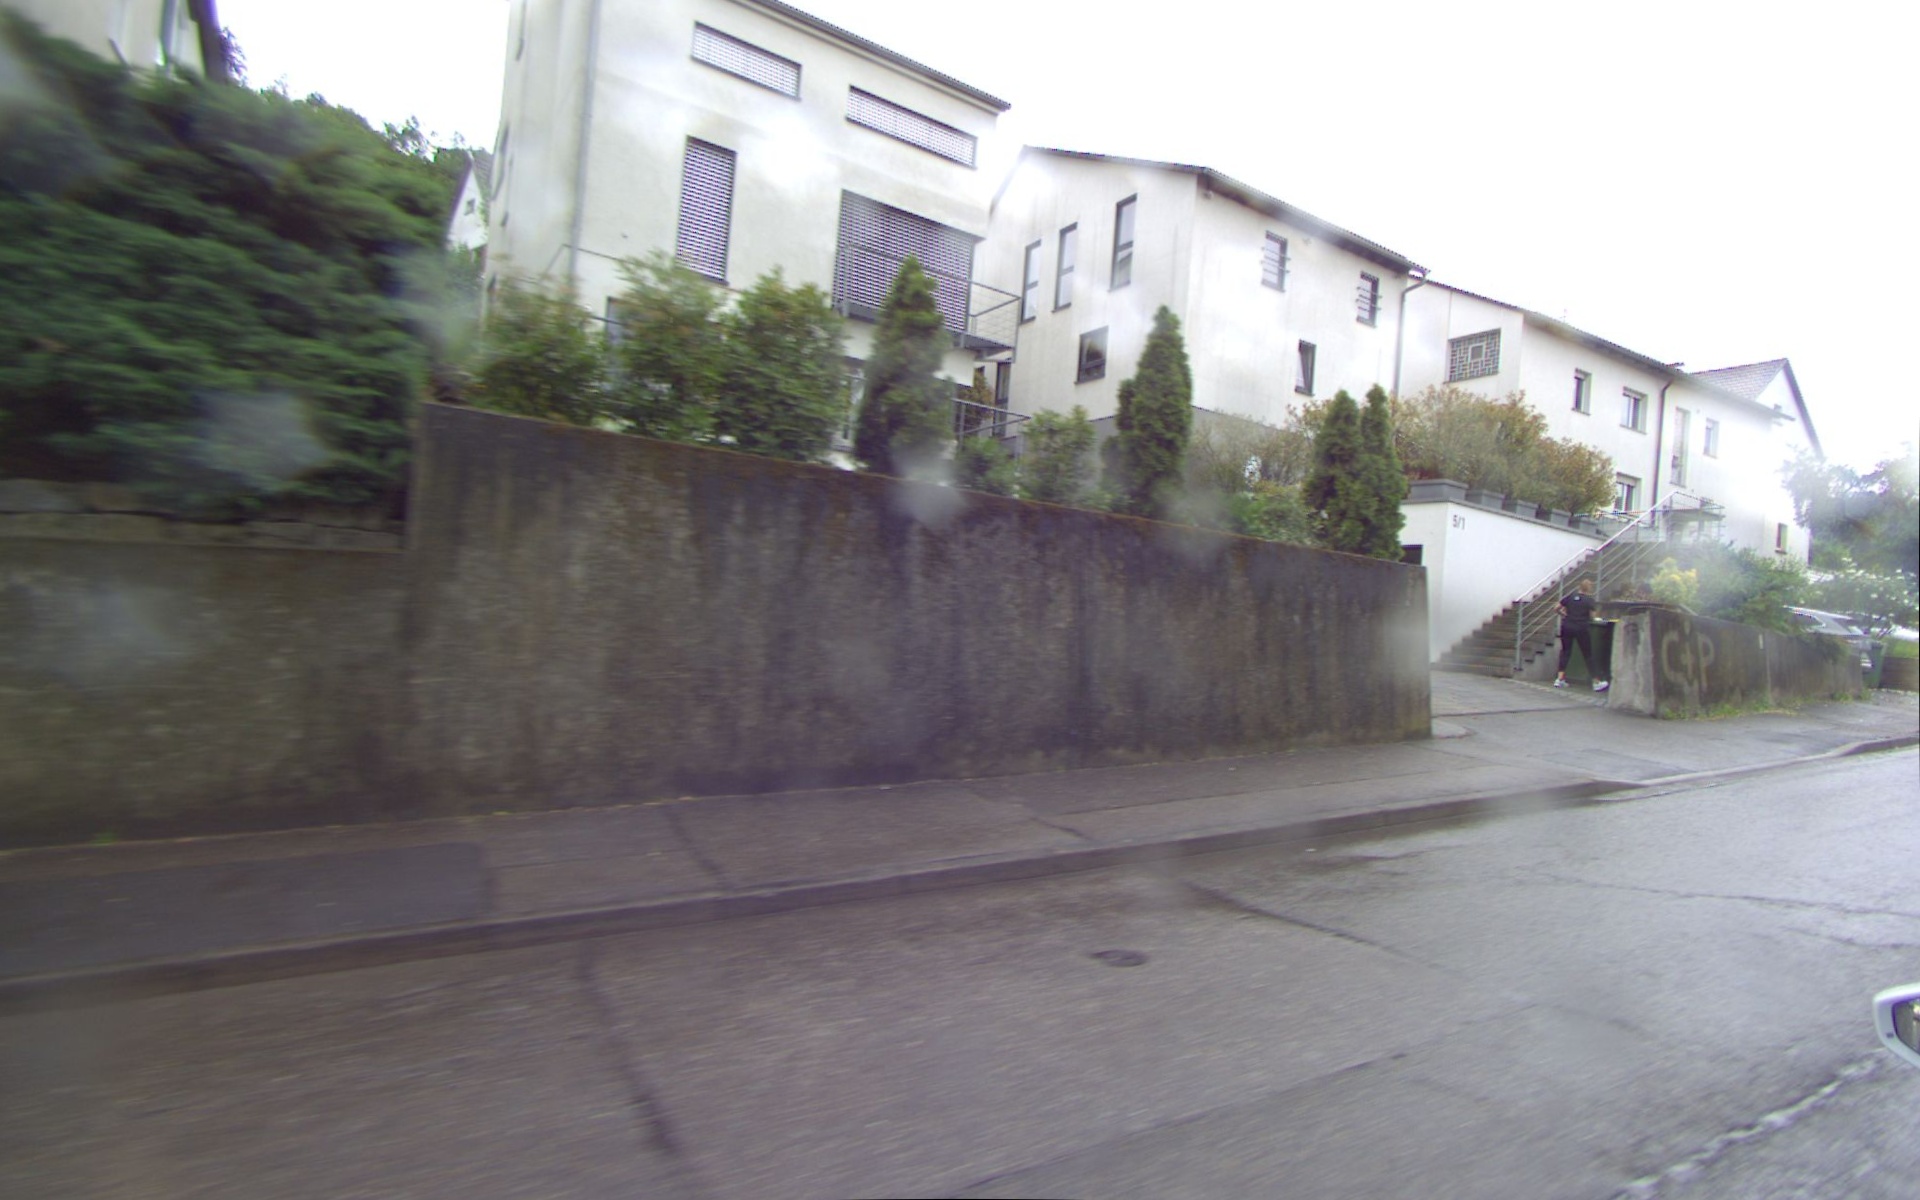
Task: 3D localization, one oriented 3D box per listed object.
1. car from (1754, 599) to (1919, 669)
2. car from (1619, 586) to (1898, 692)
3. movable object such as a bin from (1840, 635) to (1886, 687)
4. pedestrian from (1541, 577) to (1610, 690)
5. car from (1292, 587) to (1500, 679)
[{"bbox_3d":[29.329,1.096,33.312,1.746,1.450,4.230,3,8,-30],"label":"car"},{"bbox_3d":[17.987,0.804,22.844,1.914,1.636,4.478,2,6,-36],"label":"car"},{"bbox_3d":[20.629,1.389,22.944,0.736,1.090,0.533,1,7,-38],"label":"movable object such as a bin"},{"bbox_3d":[9.399,0.492,15.349,0.726,1.671,0.650,0,2,-39],"label":"pedestrian"},{"bbox_3d":[8.834,0.679,20.286,4.073,1.371,1.779,8,-2,-32],"label":"car"}]
